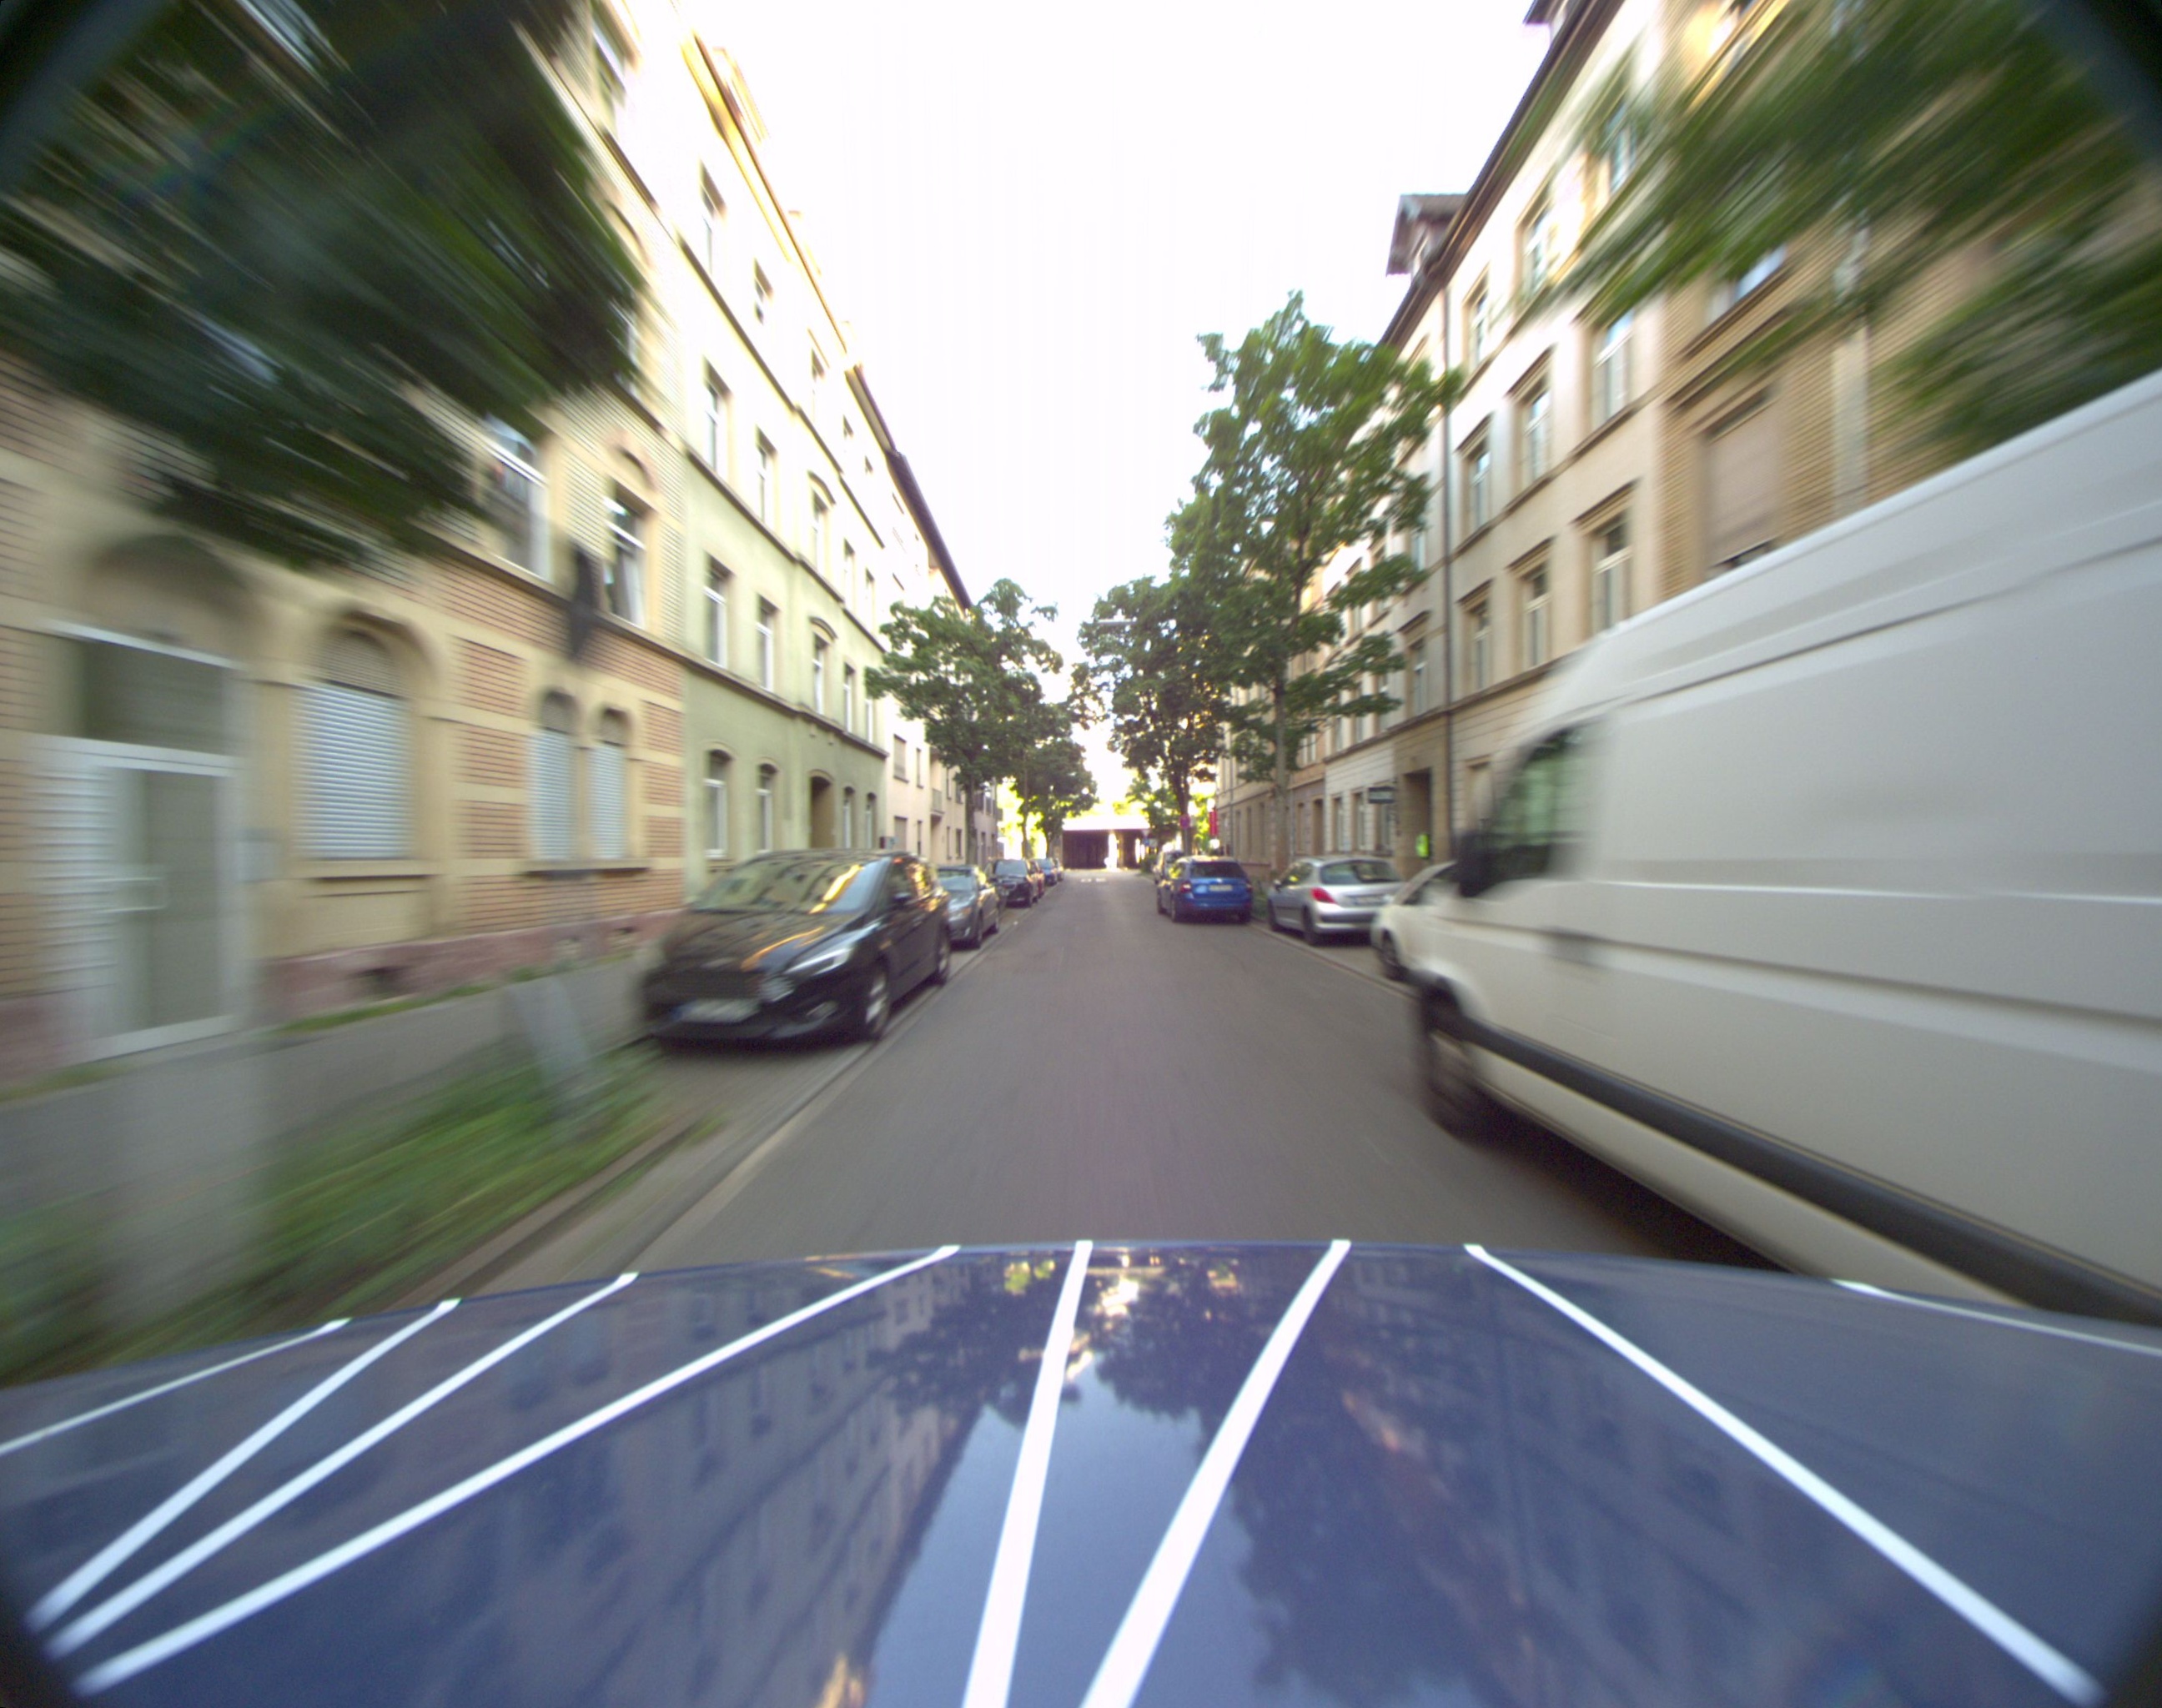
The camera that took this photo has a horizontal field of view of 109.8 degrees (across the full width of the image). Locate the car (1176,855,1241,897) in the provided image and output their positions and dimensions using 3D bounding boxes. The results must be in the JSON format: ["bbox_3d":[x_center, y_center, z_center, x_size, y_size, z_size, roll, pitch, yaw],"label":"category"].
[{"bbox_3d":[4.871,0.810,29.489,1.756,1.486,3.756,-1,0,-2],"label":"car"}]

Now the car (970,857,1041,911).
[{"bbox_3d":[-2.320,0.895,24.392,1.835,1.530,4.123,0,0,1],"label":"car"}]

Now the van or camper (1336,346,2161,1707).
[{"bbox_3d":[2.761,0.438,2.187,2.225,2.417,5.660,0,0,1],"label":"van or camper"}]

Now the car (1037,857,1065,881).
[{"bbox_3d":[-1.840,0.923,47.018,1.656,1.381,3.512,-1,0,-2],"label":"car"}]

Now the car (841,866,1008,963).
[{"bbox_3d":[-2.633,0.972,14.105,2.051,1.395,4.866,0,0,1],"label":"car"}]

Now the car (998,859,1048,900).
[{"bbox_3d":[-2.195,0.958,29.476,1.656,1.431,3.638,-1,0,0],"label":"car"}]

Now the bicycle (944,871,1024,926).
[{"bbox_3d":[-2.282,1.032,17.977,1.761,1.217,0.639,0,2,-27],"label":"bicycle"}]

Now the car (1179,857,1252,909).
[{"bbox_3d":[4.216,0.864,24.349,1.756,1.486,3.757,-1,0,2],"label":"car"}]

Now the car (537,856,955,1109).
[{"bbox_3d":[-2.584,0.857,7.249,1.944,1.621,4.454,-1,0,0],"label":"car"}]

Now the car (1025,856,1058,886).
[{"bbox_3d":[-2.079,0.885,40.886,1.656,1.500,3.869,-1,0,-1],"label":"car"}]

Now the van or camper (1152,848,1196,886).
[{"bbox_3d":[4.745,0.616,39.162,1.684,1.847,3.756,-1,0,-2],"label":"van or camper"}]

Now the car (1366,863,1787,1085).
[{"bbox_3d":[4.355,0.905,7.469,1.614,1.534,3.799,-1,0,-1],"label":"car"}]

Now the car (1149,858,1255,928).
[{"bbox_3d":[2.745,0.844,18.212,1.665,1.448,4.282,0,0,-3],"label":"car"}]

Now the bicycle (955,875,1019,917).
[{"bbox_3d":[-2.567,1.130,20.676,1.753,1.014,0.642,1,2,36],"label":"bicycle"}]

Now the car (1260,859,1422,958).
[{"bbox_3d":[4.450,0.853,13.610,1.614,1.431,3.848,-2,0,1],"label":"car"}]
